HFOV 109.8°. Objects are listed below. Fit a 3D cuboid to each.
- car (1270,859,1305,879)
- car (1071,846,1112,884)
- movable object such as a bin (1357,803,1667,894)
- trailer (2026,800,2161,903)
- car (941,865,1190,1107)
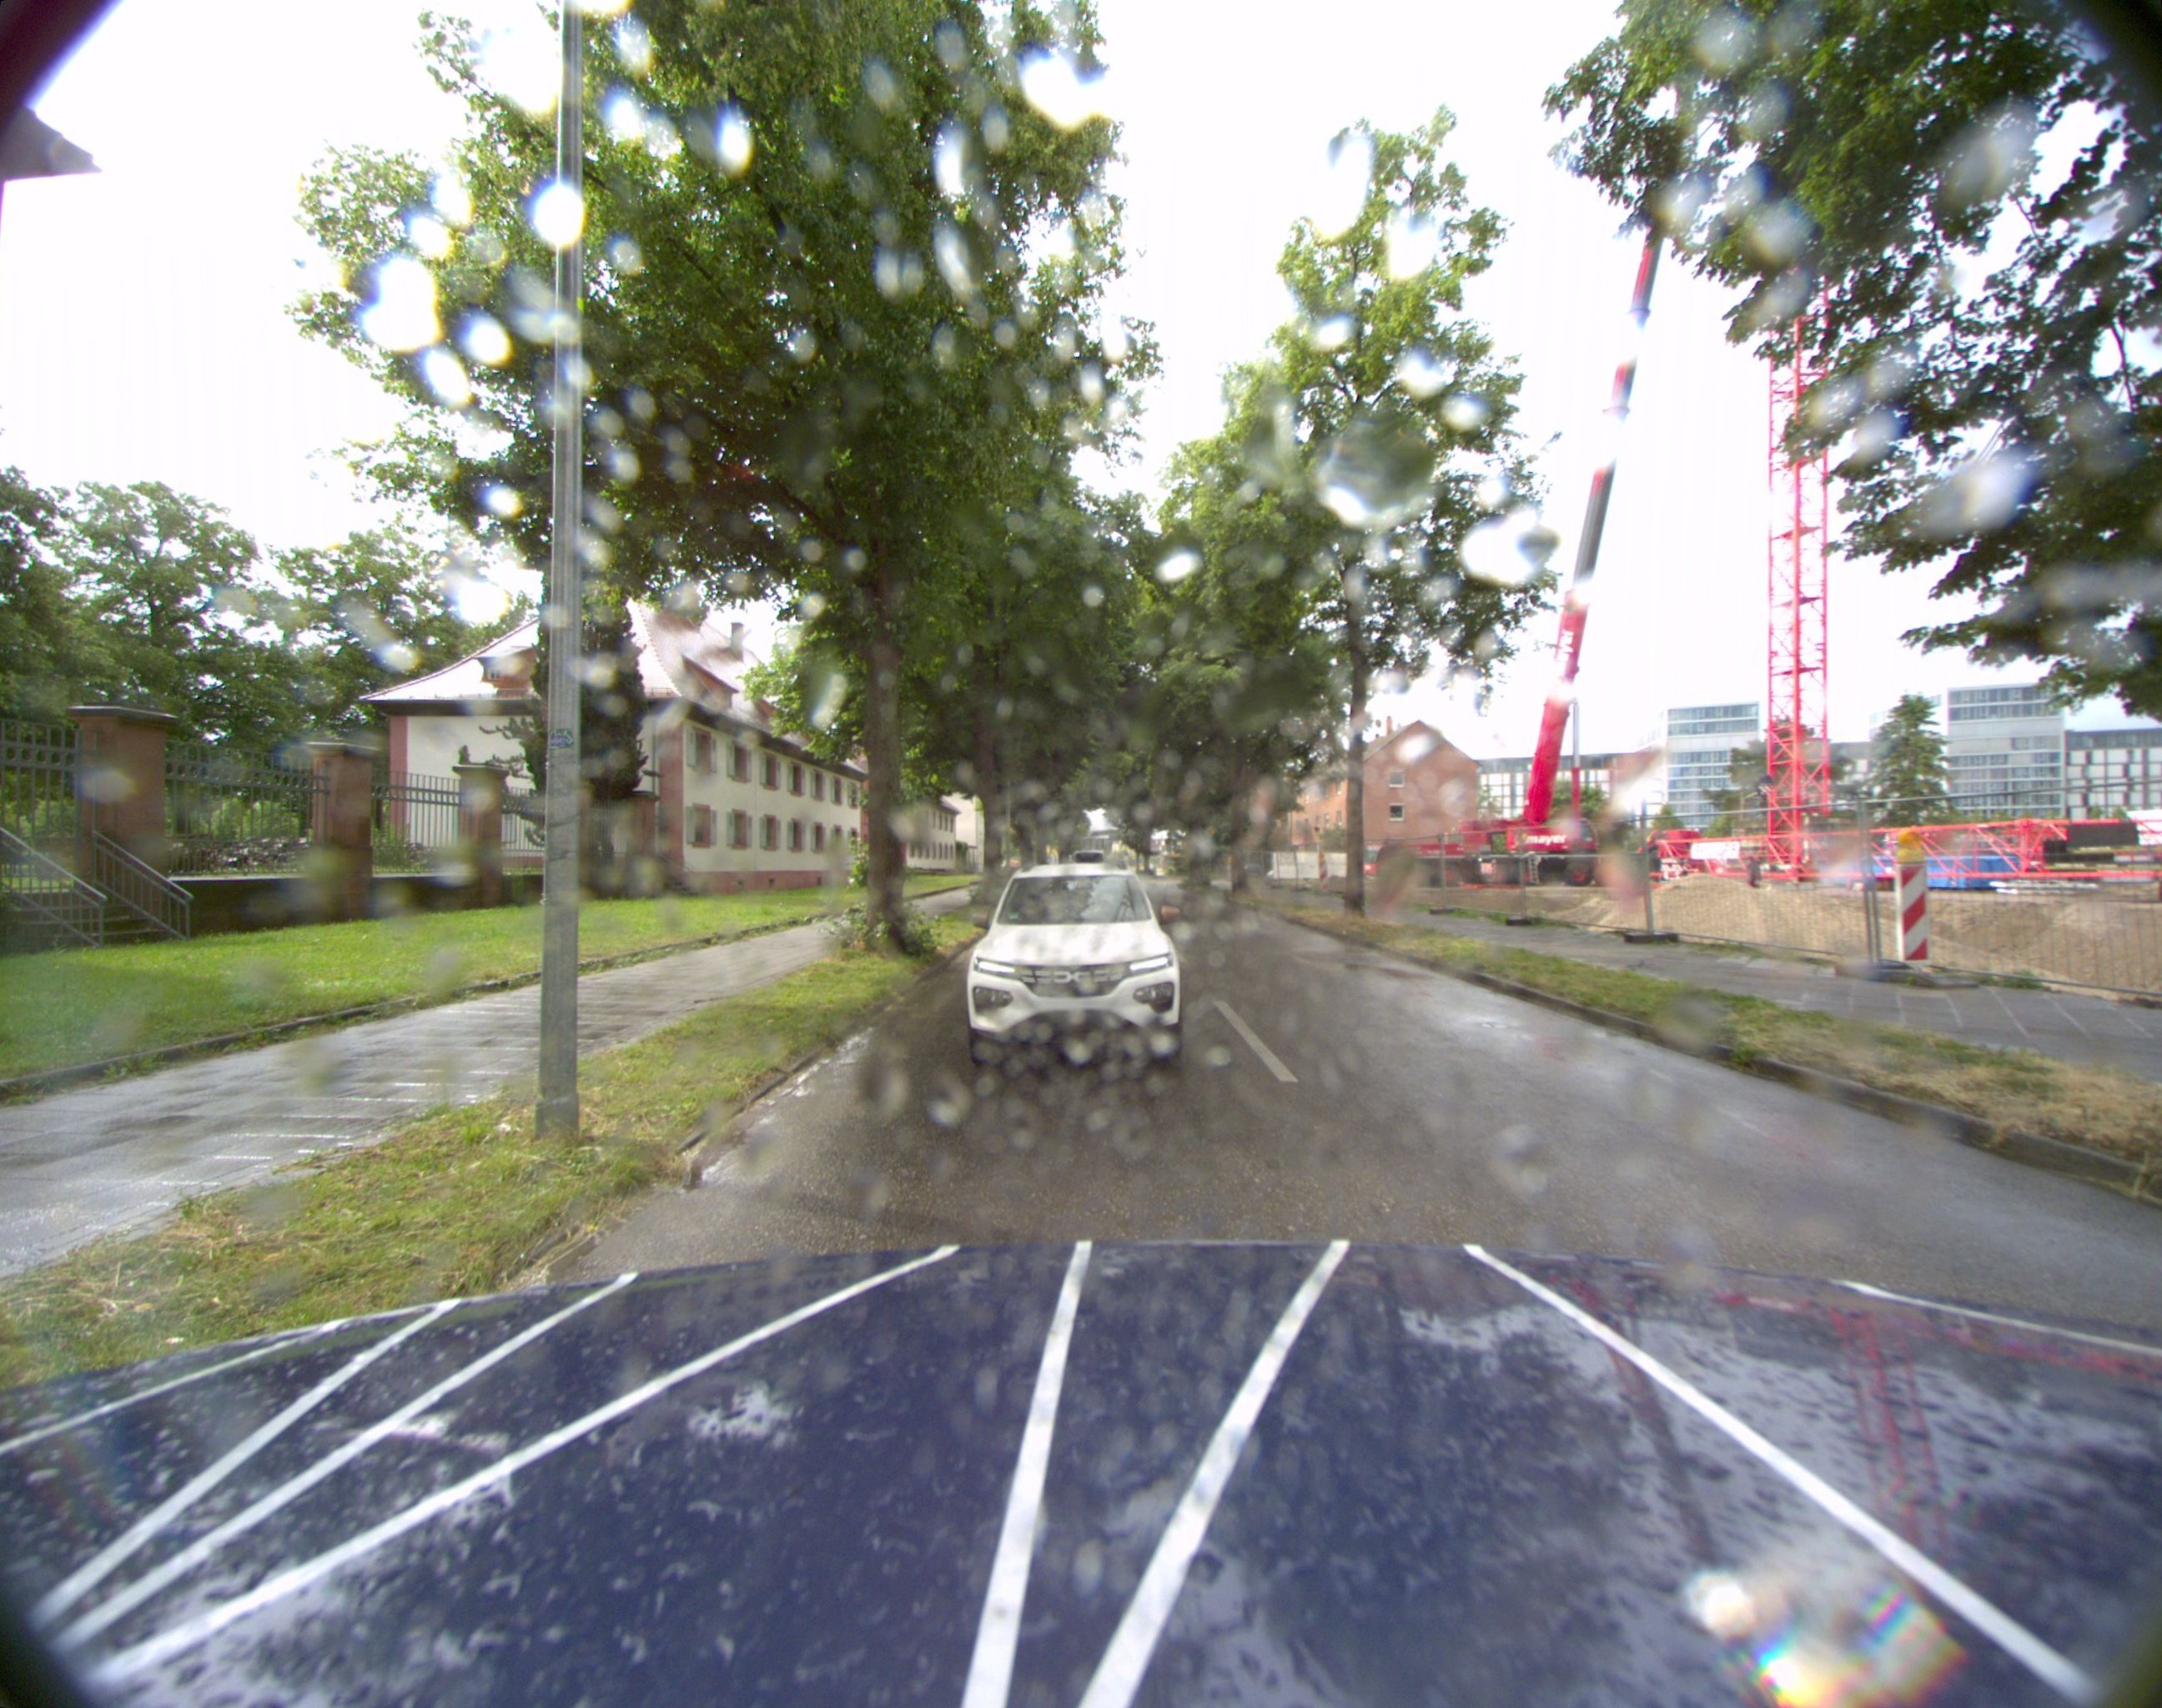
[{"bbox_3d":[16.752,1.188,61.838,1.693,1.521,3.999,-2,0,-1],"label":"car"},{"bbox_3d":[0.536,0.576,43.399,2.107,1.990,5.433,-2,0,-1],"label":"car"},{"bbox_3d":[24.916,-0.296,44.655,15.941,4.532,3.102,-2,1,4],"label":"movable object such as a bin"},{"bbox_3d":[35.766,-0.136,20.382,2.968,3.214,14.309,-4,0,0],"label":"trailer"},{"bbox_3d":[-0.065,0.904,7.017,1.608,1.499,4.000,-2,0,1],"label":"car"}]
